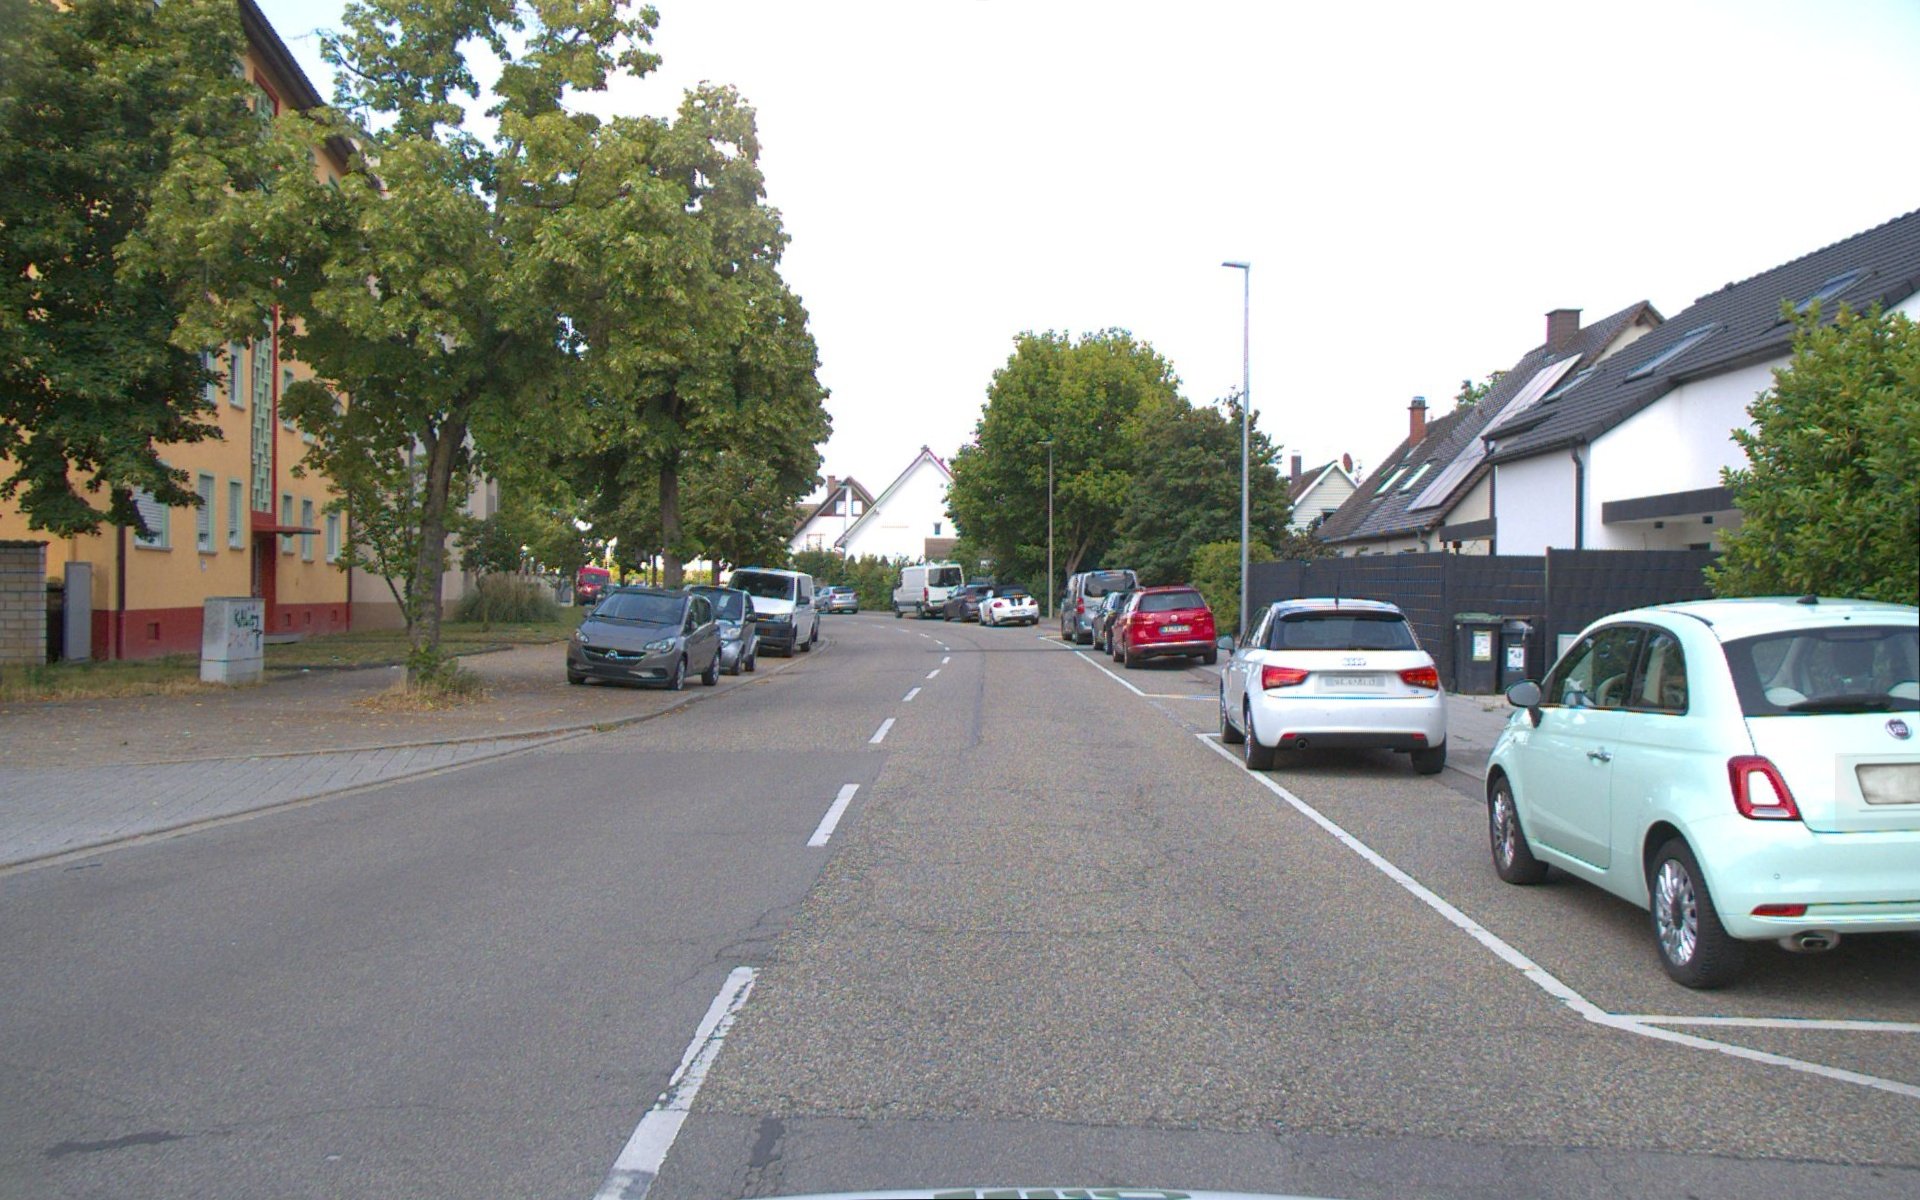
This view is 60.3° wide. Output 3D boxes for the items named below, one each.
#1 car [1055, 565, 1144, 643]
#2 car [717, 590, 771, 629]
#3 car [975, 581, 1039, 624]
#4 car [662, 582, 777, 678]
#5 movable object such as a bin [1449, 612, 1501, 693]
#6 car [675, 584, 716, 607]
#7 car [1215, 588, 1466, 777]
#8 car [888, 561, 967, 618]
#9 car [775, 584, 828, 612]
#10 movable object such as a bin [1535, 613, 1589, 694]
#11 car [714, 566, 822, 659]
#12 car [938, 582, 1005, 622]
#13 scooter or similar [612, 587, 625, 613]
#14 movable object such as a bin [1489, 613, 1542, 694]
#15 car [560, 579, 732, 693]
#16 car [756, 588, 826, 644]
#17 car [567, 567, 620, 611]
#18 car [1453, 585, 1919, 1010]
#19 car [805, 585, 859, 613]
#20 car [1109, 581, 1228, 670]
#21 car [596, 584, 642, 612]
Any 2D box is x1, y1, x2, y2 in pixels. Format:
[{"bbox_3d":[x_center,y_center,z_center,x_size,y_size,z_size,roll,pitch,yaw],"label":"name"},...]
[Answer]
[{"bbox_3d":[3.791,0.091,45.795,1.805,1.978,4.874,-2,0,-2],"label":"car"},{"bbox_3d":[-8.731,0.359,66.654,1.804,1.464,4.080,3,0,-11],"label":"car"},{"bbox_3d":[1.739,0.085,62.294,1.707,1.539,4.450,0,0,-8],"label":"car"},{"bbox_3d":[-4.522,0.514,31.531,1.487,1.576,3.755,6,1,0],"label":"car"},{"bbox_3d":[6.891,0.694,22.129,0.505,1.057,0.630,0,0,1],"label":"movable object such as a bin"},{"bbox_3d":[-18.365,-0.289,114.774,1.773,1.550,3.939,0,0,-27],"label":"car"},{"bbox_3d":[3.362,0.654,15.251,1.685,1.512,3.751,0,0,4],"label":"car"},{"bbox_3d":[-1.537,-0.492,75.429,2.084,2.483,5.867,0,0,-17],"label":"car"},{"bbox_3d":[-9.046,-0.136,94.259,1.714,1.535,4.442,0,0,-24],"label":"car"},{"bbox_3d":[8.050,0.708,22.129,0.505,1.057,0.630,0,0,1],"label":"movable object such as a bin"},{"bbox_3d":[-4.537,0.253,39.860,1.841,2.044,5.323,2,1,1],"label":"car"},{"bbox_3d":[0.431,0.046,68.913,1.690,1.613,4.105,0,0,-16],"label":"car"},{"bbox_3d":[-16.161,0.012,78.279,0.413,1.186,1.134,2,0,-21],"label":"scooter or similar"},{"bbox_3d":[7.429,0.707,22.132,0.505,1.057,0.630,0,0,1],"label":"movable object such as a bin"},{"bbox_3d":[-4.703,0.539,25.344,1.649,1.512,3.985,3,-1,2],"label":"car"},{"bbox_3d":[-4.847,0.429,47.866,1.725,1.515,4.502,1,0,-2],"label":"car"},{"bbox_3d":[-22.912,-0.719,103.194,2.036,2.544,5.798,5,-1,-23],"label":"car"},{"bbox_3d":[3.665,0.712,7.915,1.548,1.546,3.756,0,0,1],"label":"car"},{"bbox_3d":[-6.921,-0.054,89.120,1.713,1.483,4.336,0,0,-22],"label":"car"},{"bbox_3d":[4.026,0.449,32.681,1.811,1.607,4.733,0,0,1],"label":"car"},{"bbox_3d":[-20.095,-0.106,97.351,1.763,1.483,4.403,5,-2,-23],"label":"car"}]
